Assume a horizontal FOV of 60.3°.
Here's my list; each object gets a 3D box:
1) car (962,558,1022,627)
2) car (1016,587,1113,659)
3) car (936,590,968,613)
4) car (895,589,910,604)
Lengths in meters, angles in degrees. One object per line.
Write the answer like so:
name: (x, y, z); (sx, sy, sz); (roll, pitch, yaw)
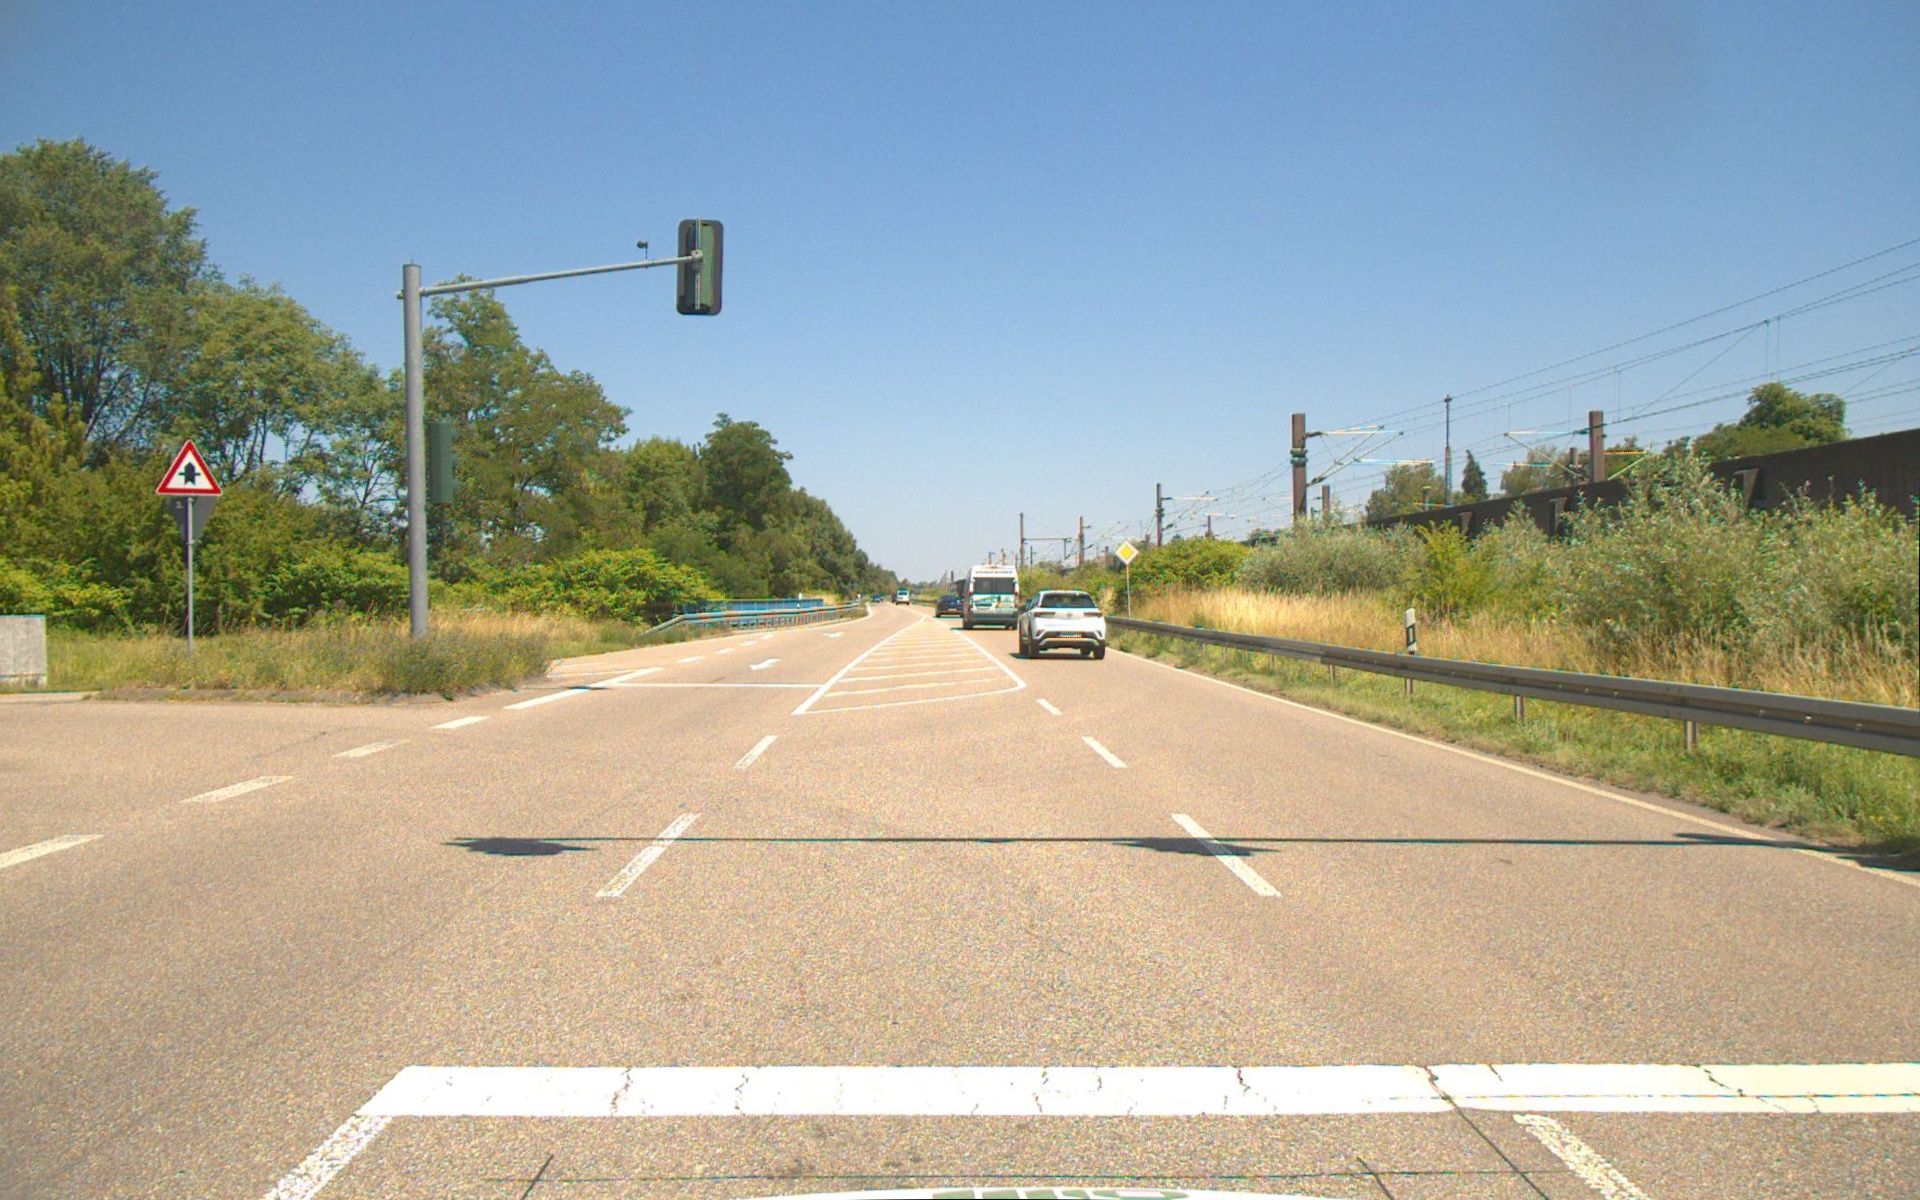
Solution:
car: (1.266, -0.330, 67.891); (2.144, 2.649, 6.749); (1, 0, -1)
car: (2.405, 0.498, 39.050); (1.782, 1.591, 4.275); (0, 0, -3)
car: (-0.518, 0.076, 102.382); (1.819, 1.404, 4.502); (1, 0, -2)
car: (-8.155, -0.469, 234.219); (1.954, 2.018, 4.058); (1, 0, -3)
